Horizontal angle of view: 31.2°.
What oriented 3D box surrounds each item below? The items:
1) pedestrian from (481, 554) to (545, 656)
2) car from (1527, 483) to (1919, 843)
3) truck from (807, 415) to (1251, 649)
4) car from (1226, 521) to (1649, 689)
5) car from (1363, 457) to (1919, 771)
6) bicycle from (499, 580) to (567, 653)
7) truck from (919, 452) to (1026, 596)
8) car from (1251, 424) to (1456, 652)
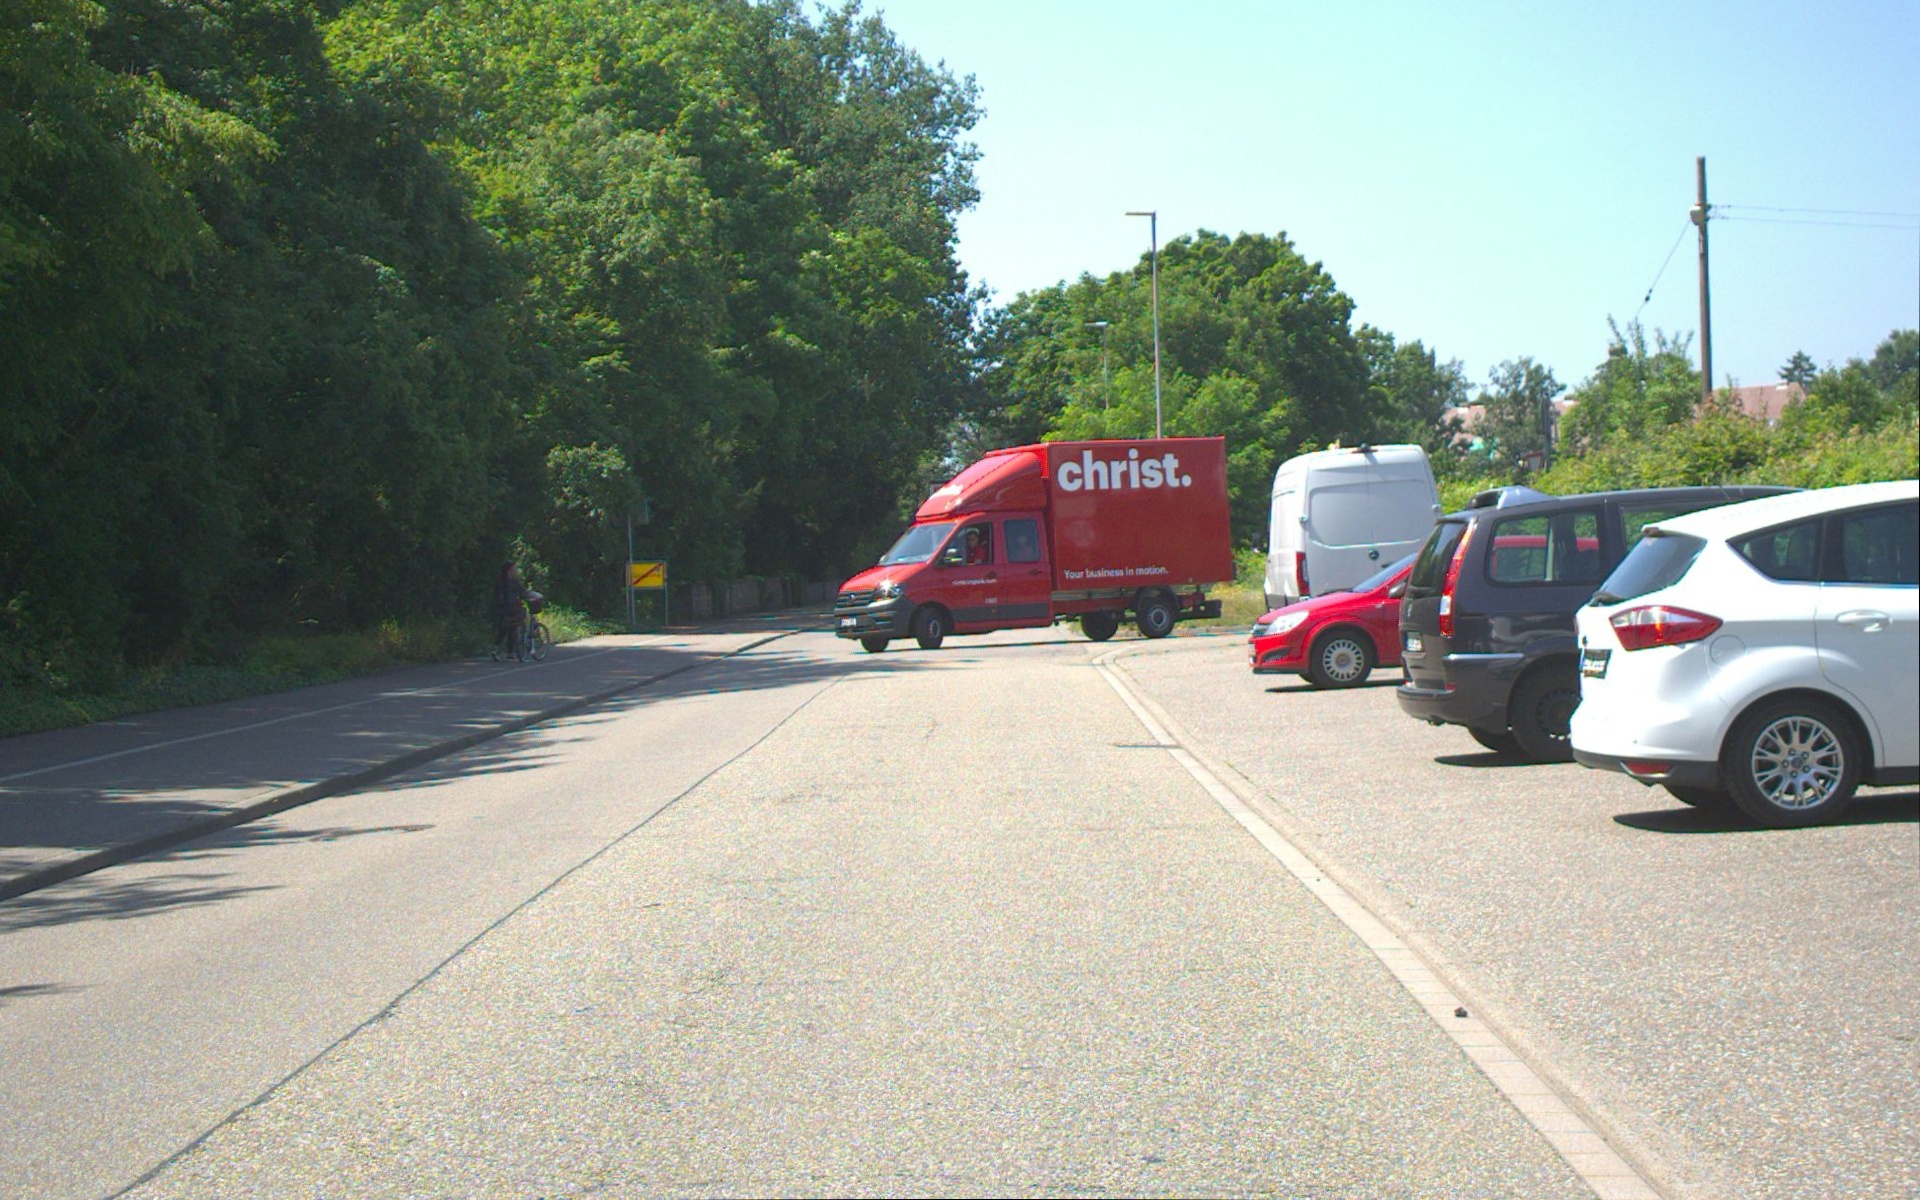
[{"bbox_3d":[-7.679,0.082,59.050,0.809,1.712,0.776,-1,1,16],"label":"pedestrian"},{"bbox_3d":[5.155,0.184,17.026,4.276,1.572,1.765,-4,1,-1],"label":"car"},{"bbox_3d":[1.220,-1.197,58.602,7.137,3.428,2.330,-5,3,-28],"label":"truck"},{"bbox_3d":[4.963,0.039,36.126,4.053,1.429,1.836,-4,1,-2],"label":"car"},{"bbox_3d":[5.167,0.043,23.278,4.452,1.798,1.953,-4,0,-3],"label":"car"},{"bbox_3d":[-7.322,0.274,59.045,0.521,1.232,1.960,0,0,13],"label":"bicycle"},{"bbox_3d":[0.446,-2.069,96.517,2.733,3.733,13.245,-1,1,1],"label":"truck"},{"bbox_3d":[5.233,-0.846,46.634,1.954,2.724,7.167,-4,1,2],"label":"car"}]
